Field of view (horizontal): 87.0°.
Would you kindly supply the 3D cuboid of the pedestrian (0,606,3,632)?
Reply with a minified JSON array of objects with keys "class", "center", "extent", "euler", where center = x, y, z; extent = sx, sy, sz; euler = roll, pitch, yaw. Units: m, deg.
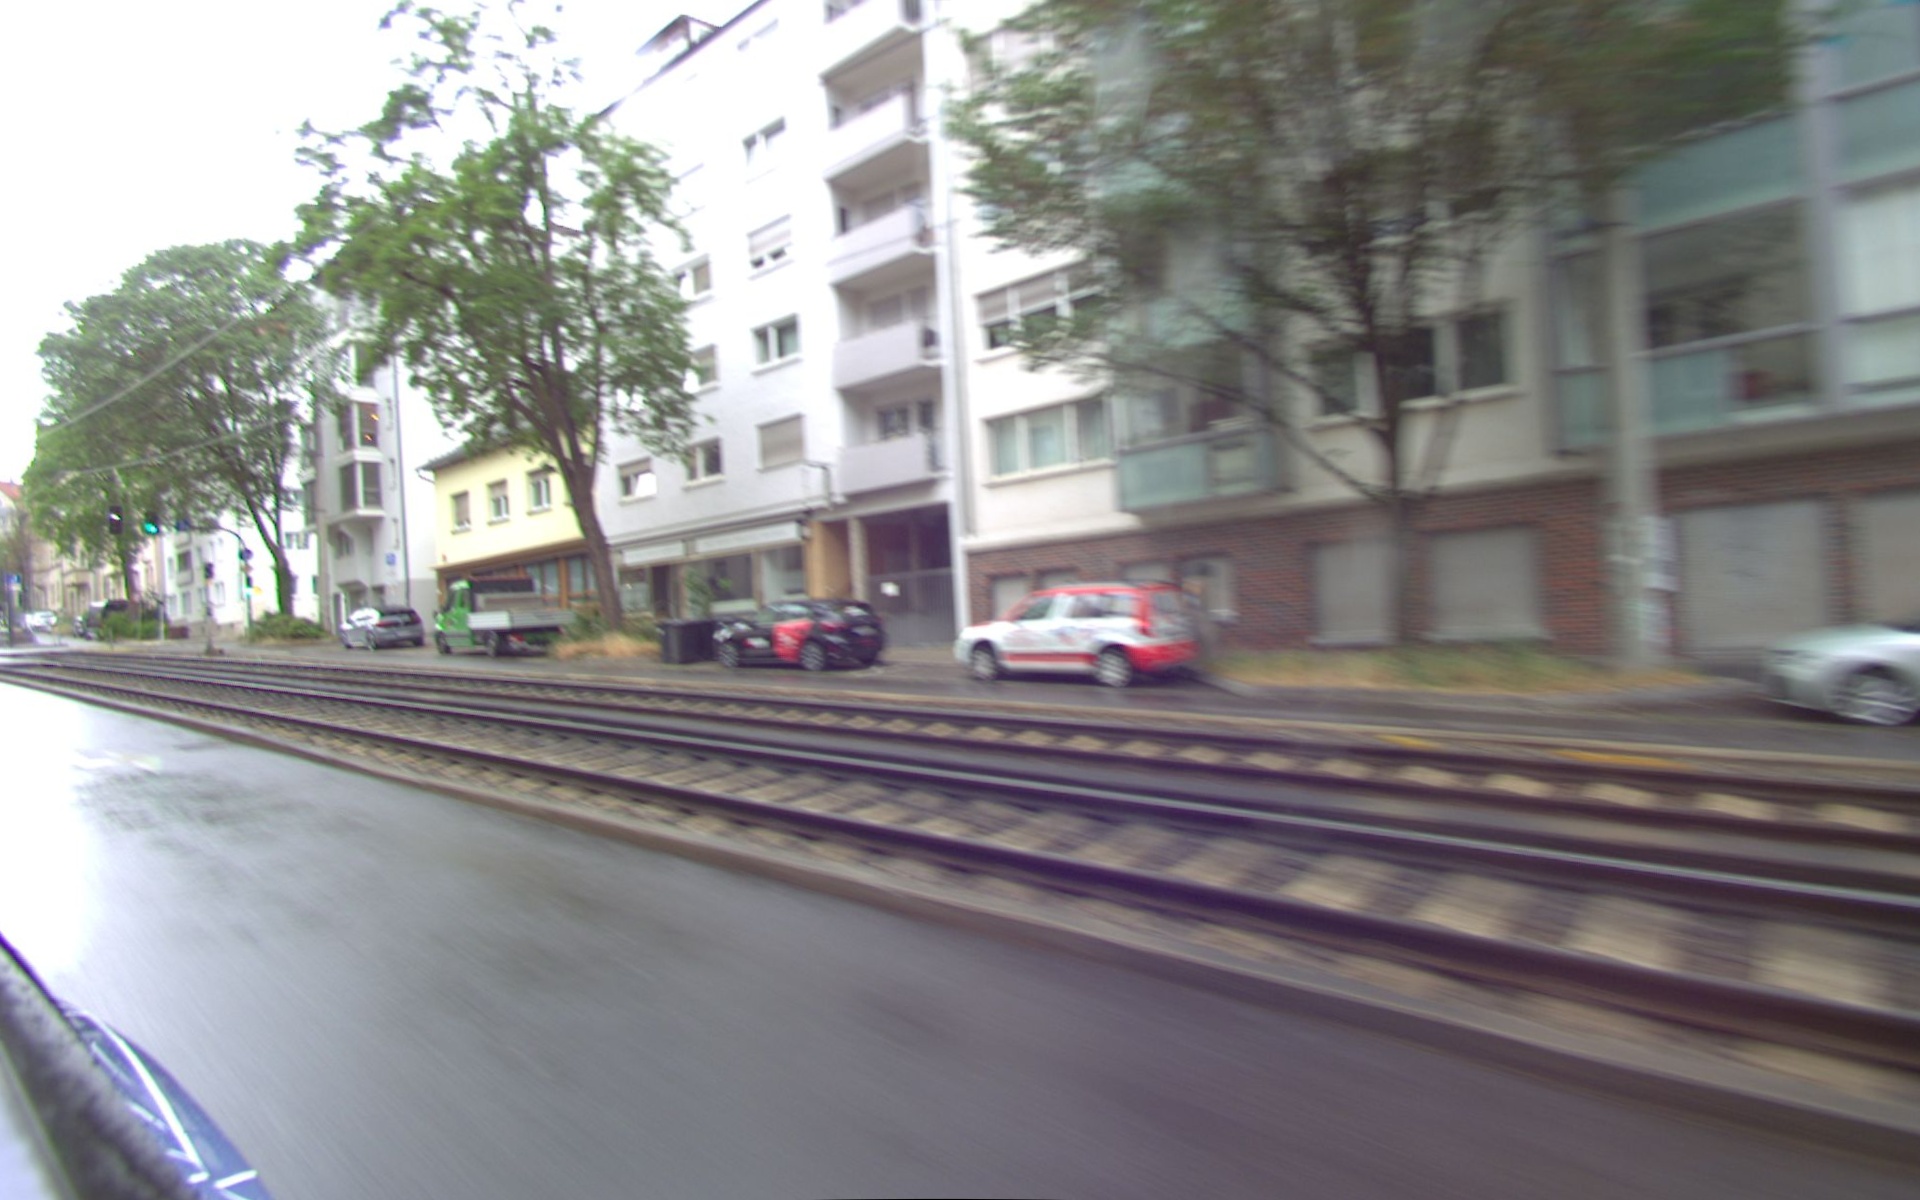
[{"class":"pedestrian","center":[-65.470,1.306,68.353],"extent":[0.965,1.796,1.106],"euler":[-2,-1,40]}]

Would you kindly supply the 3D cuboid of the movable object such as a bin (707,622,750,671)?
[{"class":"movable object such as a bin","center":[-5.470,1.088,23.886],"extent":[0.670,1.130,0.718],"euler":[-2,-2,35]}]

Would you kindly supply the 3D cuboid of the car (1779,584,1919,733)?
[{"class":"car","center":[10.426,0.525,9.543],"extent":[4.128,1.345,1.685],"euler":[-2,2,41]}]

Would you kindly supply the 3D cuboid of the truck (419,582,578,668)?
[{"class":"truck","center":[-14.243,0.706,30.975],"extent":[6.352,2.363,2.168],"euler":[0,0,43]}]

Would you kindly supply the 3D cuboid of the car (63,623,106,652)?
[{"class":"car","center":[-65.281,2.808,75.451],"extent":[3.999,2.029,1.972],"euler":[-2,-1,42]}]

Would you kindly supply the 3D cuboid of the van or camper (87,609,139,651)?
[{"class":"van or camper","center":[-58.142,2.020,69.437],"extent":[5.211,2.819,1.972],"euler":[0,-1,42]}]

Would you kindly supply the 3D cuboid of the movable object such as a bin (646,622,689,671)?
[{"class":"movable object such as a bin","center":[-6.991,1.112,24.199],"extent":[0.670,1.130,0.718],"euler":[-2,-2,35]}]

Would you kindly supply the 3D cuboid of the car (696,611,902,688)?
[{"class":"car","center":[-3.530,1.018,21.686],"extent":[4.465,1.451,1.887],"euler":[-2,-1,40]}]

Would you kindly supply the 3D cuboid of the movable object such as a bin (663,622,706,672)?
[{"class":"movable object such as a bin","center":[-6.464,1.100,23.734],"extent":[0.670,1.130,0.718],"euler":[-2,-2,35]}]

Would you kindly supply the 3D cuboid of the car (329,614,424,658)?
[{"class":"car","center":[-21.784,1.321,37.705],"extent":[4.358,1.471,1.687],"euler":[-2,1,41]}]

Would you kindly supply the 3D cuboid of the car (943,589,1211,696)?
[{"class":"car","center":[1.876,0.666,16.937],"extent":[4.155,1.581,1.758],"euler":[-2,-1,40]}]
